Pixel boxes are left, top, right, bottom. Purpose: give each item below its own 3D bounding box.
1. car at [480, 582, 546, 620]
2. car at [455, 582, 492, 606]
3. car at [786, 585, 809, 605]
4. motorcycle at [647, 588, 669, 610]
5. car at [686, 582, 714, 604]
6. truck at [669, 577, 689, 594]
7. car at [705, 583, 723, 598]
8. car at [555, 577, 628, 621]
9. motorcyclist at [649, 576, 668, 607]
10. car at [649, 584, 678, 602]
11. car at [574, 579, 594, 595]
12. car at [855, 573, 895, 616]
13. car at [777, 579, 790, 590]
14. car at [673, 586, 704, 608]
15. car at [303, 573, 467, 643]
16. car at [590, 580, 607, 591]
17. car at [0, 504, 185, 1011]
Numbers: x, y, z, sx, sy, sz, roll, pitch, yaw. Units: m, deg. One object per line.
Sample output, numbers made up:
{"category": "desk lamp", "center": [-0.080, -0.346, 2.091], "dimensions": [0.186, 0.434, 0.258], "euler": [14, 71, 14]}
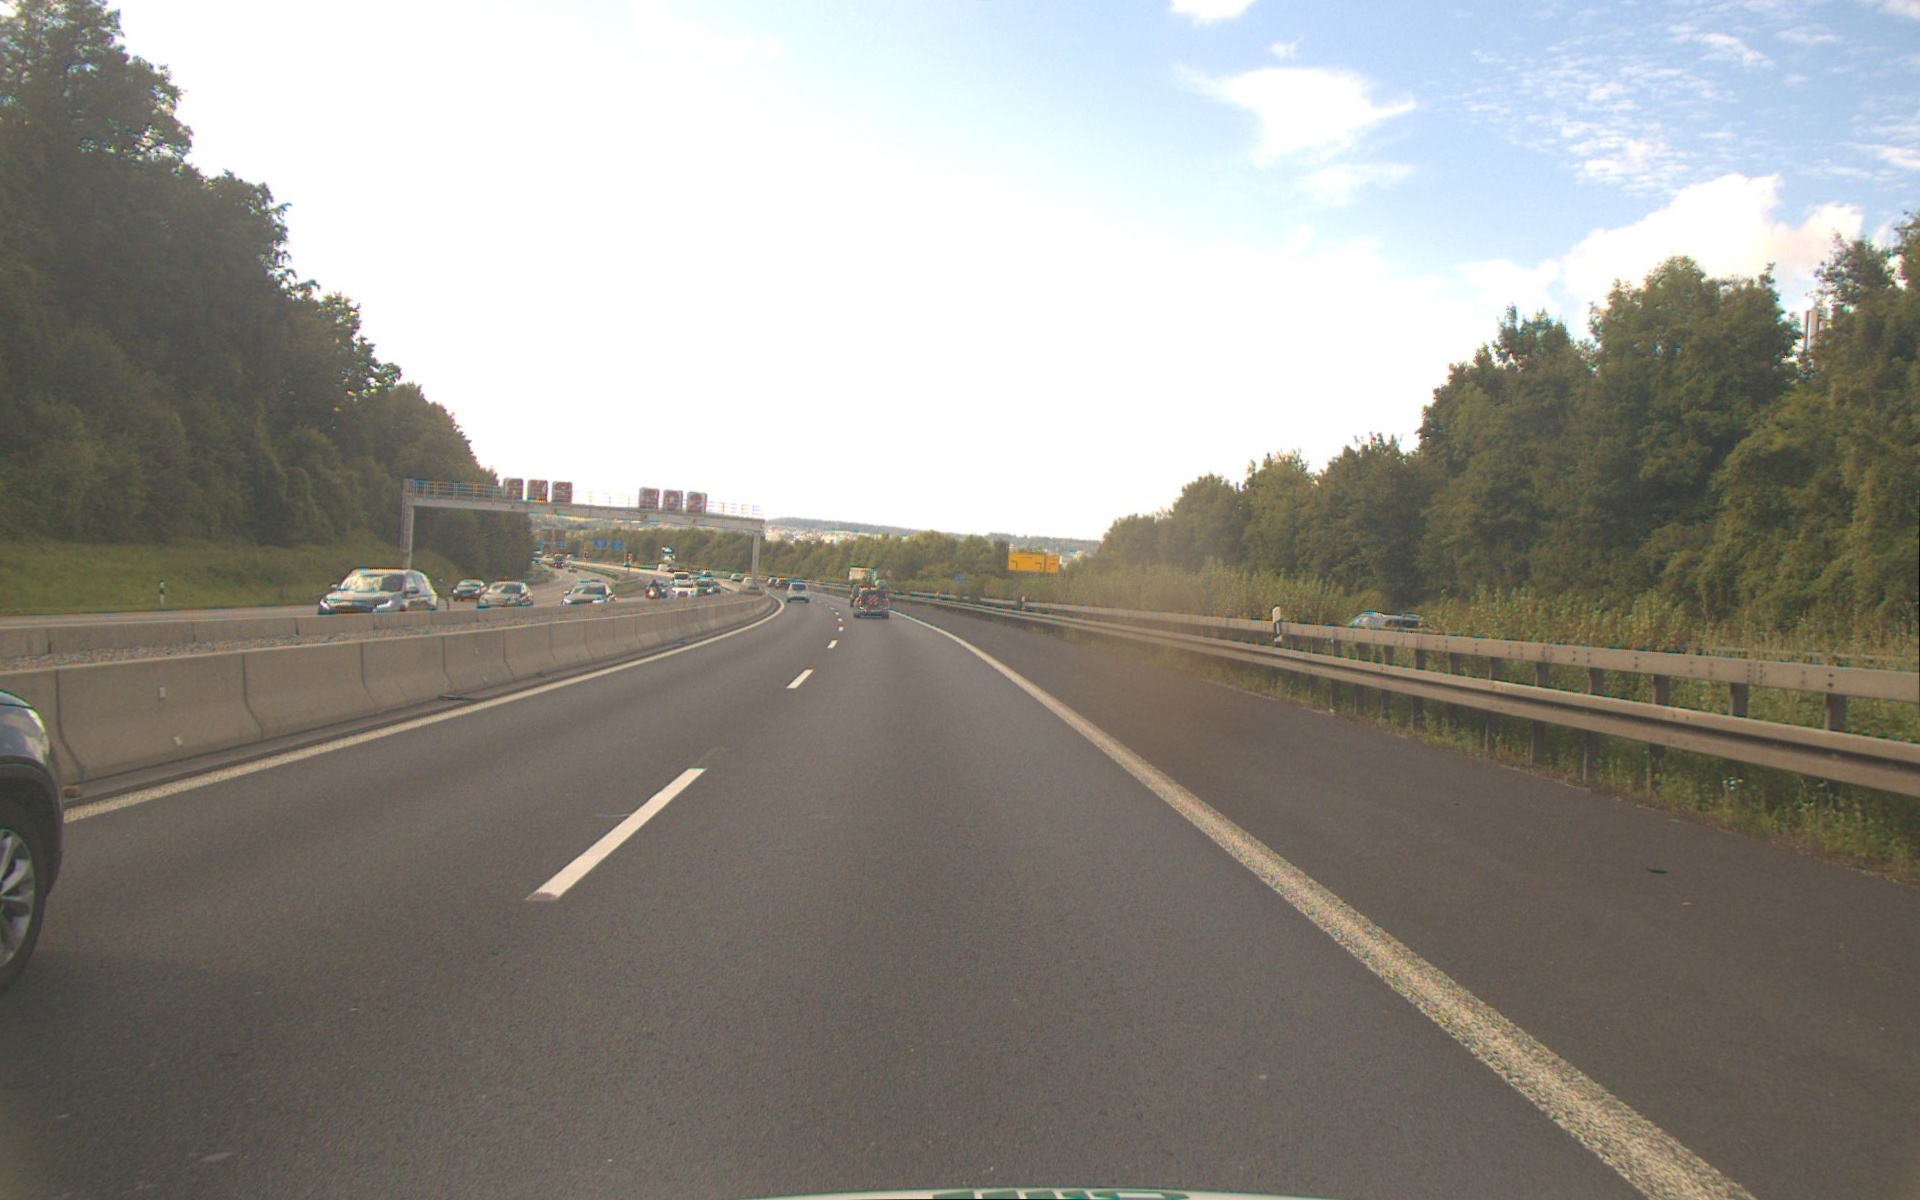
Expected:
{"category": "car", "center": [-19.170, 0.020, 71.120], "dimensions": [1.876, 1.536, 3.998], "euler": [1, 0, -3]}
{"category": "car", "center": [-32.389, -0.415, 110.255], "dimensions": [1.705, 1.536, 3.994], "euler": [1, 0, -7]}
{"category": "car", "center": [-14.274, -0.402, 145.470], "dimensions": [1.955, 1.713, 3.995], "euler": [1, 0, -6]}
{"category": "motorcycle", "center": [-16.828, -0.065, 92.255], "dimensions": [0.904, 1.209, 2.637], "euler": [1, 0, -3]}
{"category": "car", "center": [-21.765, -0.605, 138.457], "dimensions": [1.839, 1.727, 4.312], "euler": [1, 0, -3]}
{"category": "truck", "center": [-37.394, -1.928, 220.496], "dimensions": [2.141, 2.265, 5.565], "euler": [1, 0, -5]}
{"category": "car", "center": [-26.582, -1.078, 178.636], "dimensions": [1.666, 1.566, 4.496], "euler": [1, 0, -5]}
{"category": "car", "center": [-14.795, -0.029, 66.620], "dimensions": [1.953, 1.655, 4.776], "euler": [1, 0, -2]}
{"category": "motorcyclist", "center": [-16.812, -0.480, 92.138], "dimensions": [0.877, 1.662, 0.921], "euler": [1, 0, -3]}
{"category": "car", "center": [-26.114, -0.621, 145.811], "dimensions": [1.954, 1.566, 4.737], "euler": [1, 0, -3]}
{"category": "car", "center": [-41.364, -1.431, 181.820], "dimensions": [1.771, 1.601, 4.550], "euler": [1, 0, -8]}
{"category": "car", "center": [-4.526, -0.319, 87.916], "dimensions": [1.990, 2.189, 3.998], "euler": [1, 1, -3]}
{"category": "car", "center": [-26.887, -2.371, 251.804], "dimensions": [1.577, 1.585, 3.988], "euler": [1, 0, -12]}
{"category": "car", "center": [-19.807, -0.230, 120.676], "dimensions": [1.725, 1.486, 4.293], "euler": [1, 0, -3]}
{"category": "car", "center": [-13.757, 0.162, 39.987], "dimensions": [1.942, 1.536, 5.960], "euler": [1, 0, -1]}
{"category": "car", "center": [-44.514, -1.768, 203.598], "dimensions": [1.789, 1.334, 4.179], "euler": [1, 0, -9]}
{"category": "car", "center": [-4.214, 0.543, 4.481], "dimensions": [1.780, 1.766, 5.186], "euler": [1, 0, 0]}
